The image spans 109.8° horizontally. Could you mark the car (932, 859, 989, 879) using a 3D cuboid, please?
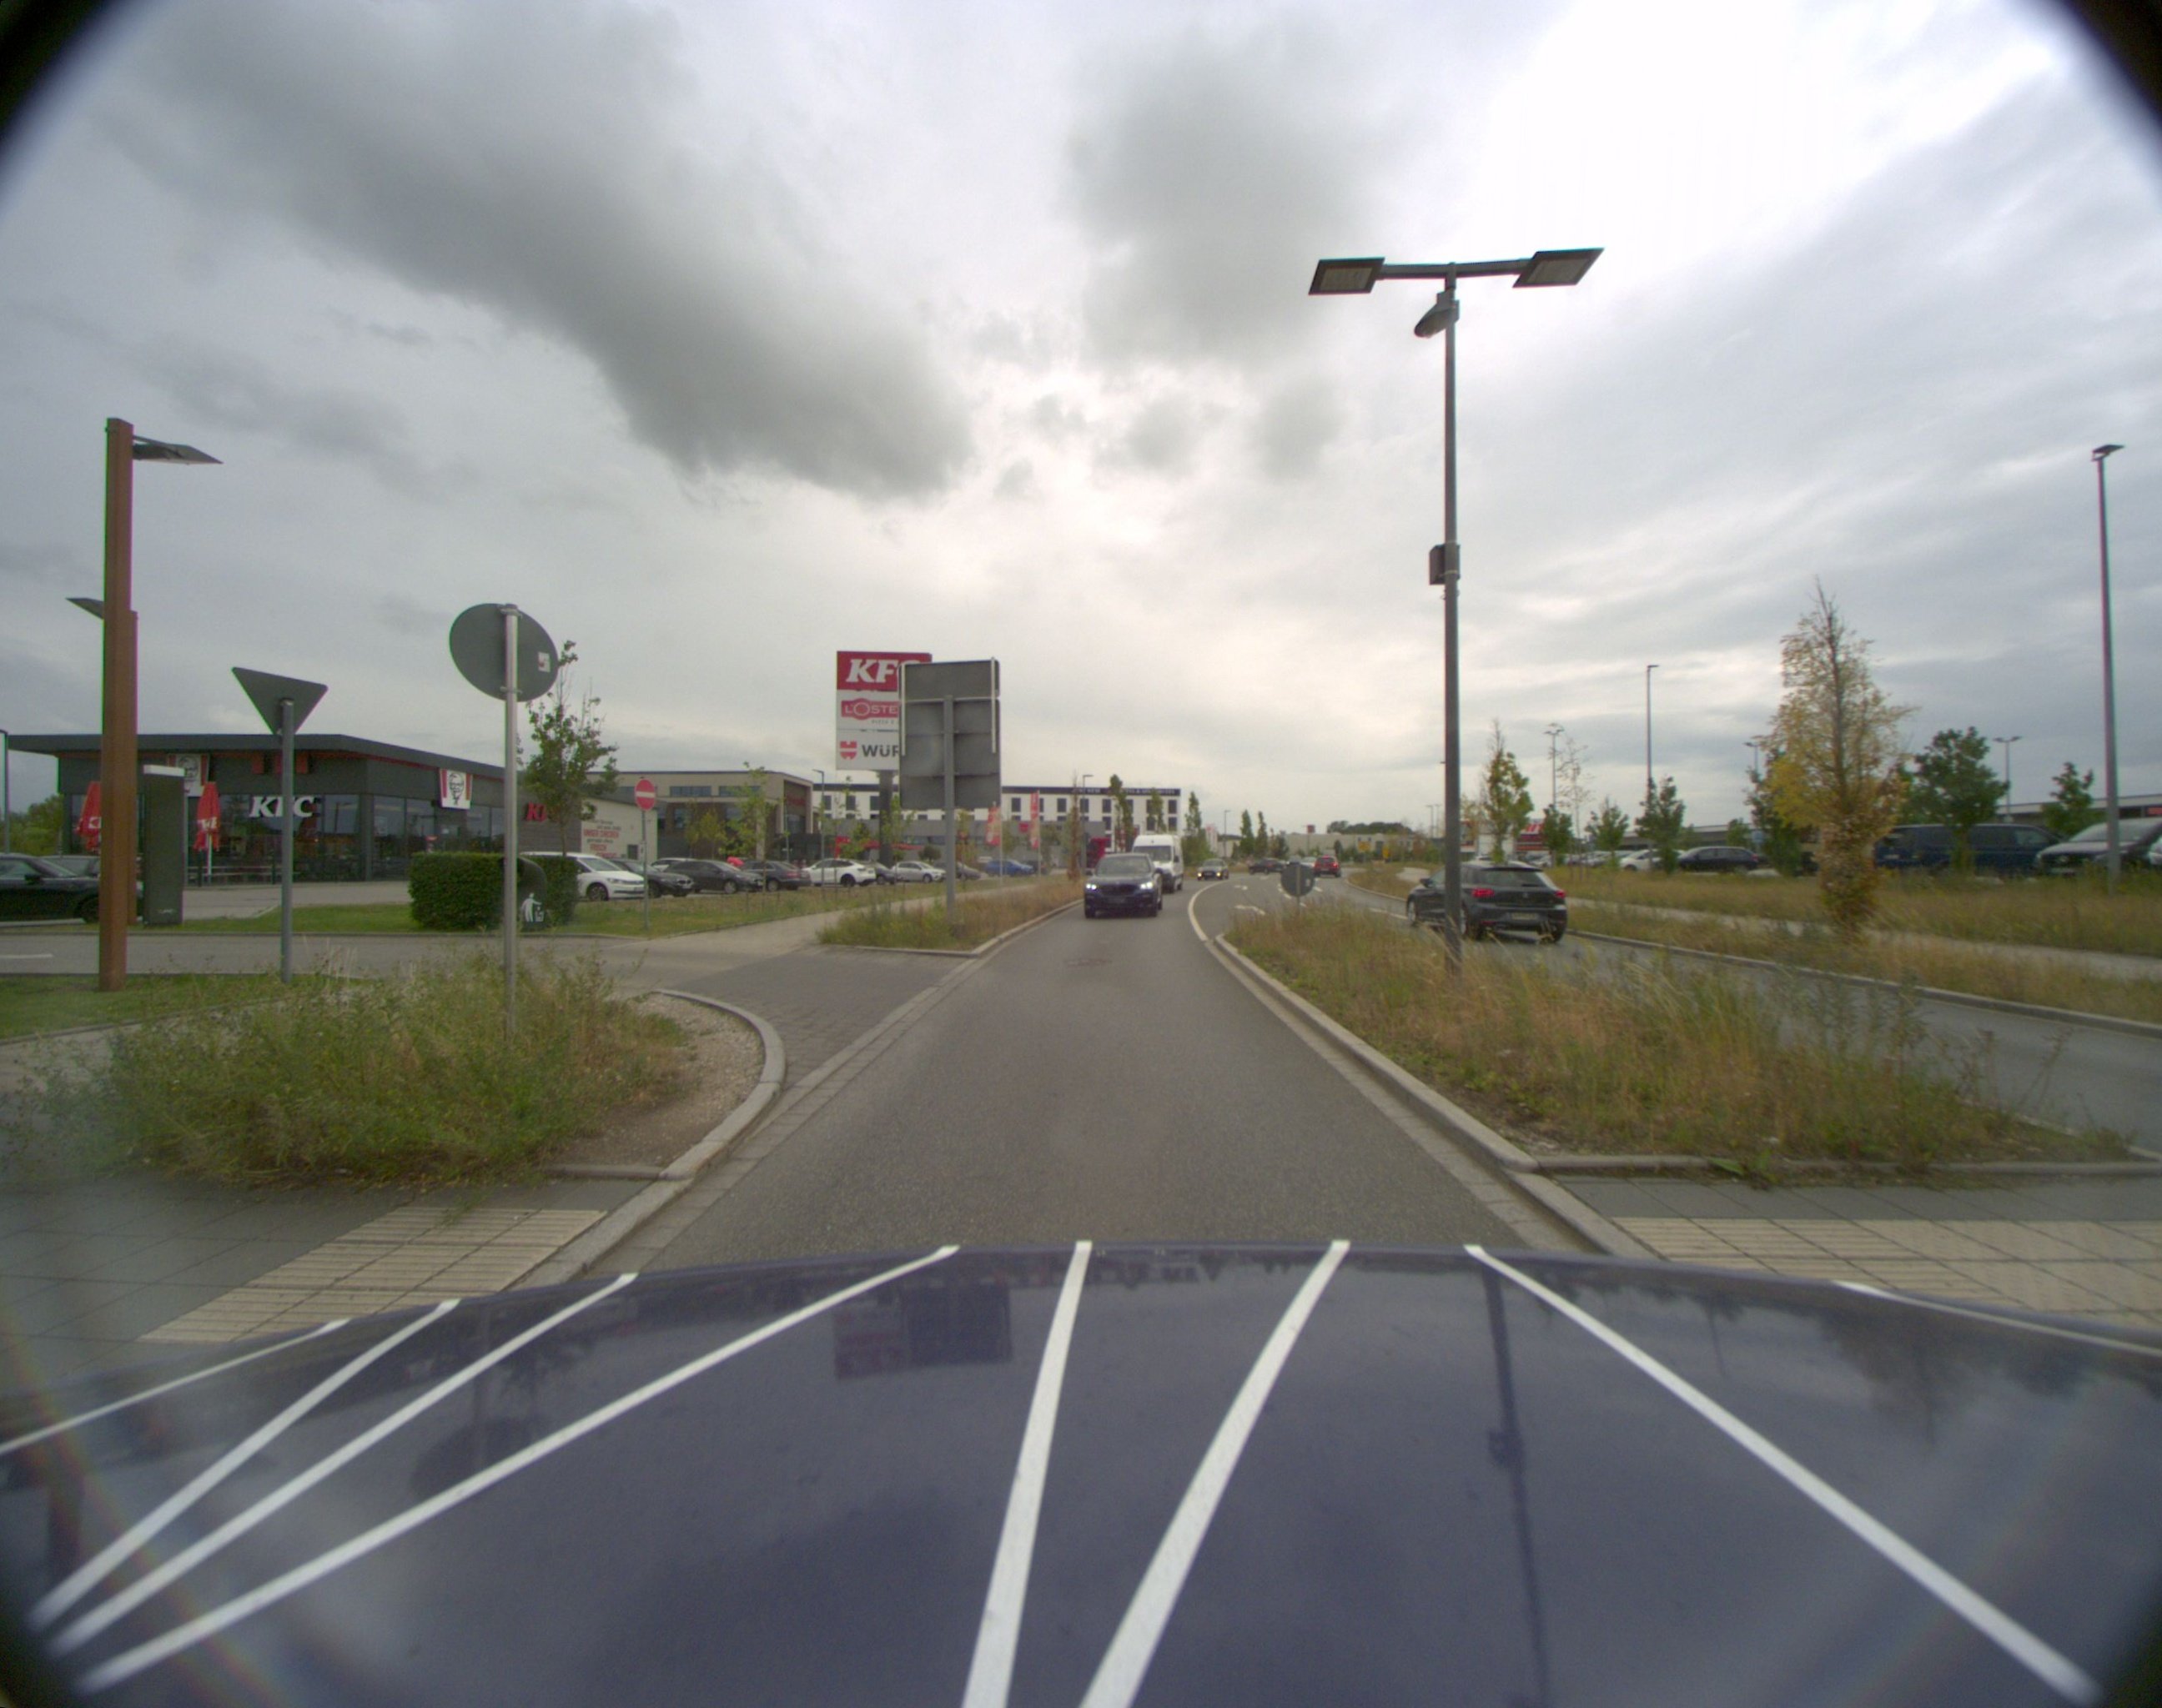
[{"bbox_3d":[-9.036,1.098,56.909,3.762,1.485,1.893,0,0,20],"label":"car"}]

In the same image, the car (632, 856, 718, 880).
[{"bbox_3d":[-26.596,0.895,49.854,4.571,1.510,2.082,1,0,4],"label":"car"}]

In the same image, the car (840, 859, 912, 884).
[{"bbox_3d":[-12.914,1.105,47.947,3.992,1.476,1.943,0,1,17],"label":"car"}]

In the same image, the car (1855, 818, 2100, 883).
[{"bbox_3d":[29.143,-0.083,24.910,4.909,1.978,2.181,0,0,12],"label":"car"}]

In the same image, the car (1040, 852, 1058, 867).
[{"bbox_3d":[-4.415,0.710,104.126,2.000,1.975,4.633,0,0,-9],"label":"car"}]

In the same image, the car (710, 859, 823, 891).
[{"bbox_3d":[-14.835,0.995,35.950,4.525,1.460,2.033,0,0,8],"label":"car"}]

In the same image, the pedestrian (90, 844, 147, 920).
[{"bbox_3d":[-23.263,0.651,18.378,0.472,1.795,0.799,0,0,-19],"label":"pedestrian"}]

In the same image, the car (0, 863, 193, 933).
[{"bbox_3d":[-20.548,0.834,15.026,1.812,1.305,3.858,0,-1,40],"label":"car"}]

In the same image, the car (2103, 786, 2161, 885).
[{"bbox_3d":[28.013,-0.469,17.336,6.082,2.293,2.211,-1,0,3],"label":"car"}]

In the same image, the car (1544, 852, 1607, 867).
[{"bbox_3d":[43.423,0.506,66.808,4.317,1.332,2.030,0,0,20],"label":"car"}]

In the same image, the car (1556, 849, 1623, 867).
[{"bbox_3d":[42.083,0.346,63.032,4.361,1.383,2.169,0,0,25],"label":"car"}]

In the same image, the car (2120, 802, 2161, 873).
[{"bbox_3d":[41.601,-0.644,27.057,2.064,2.674,5.145,0,0,-2],"label":"car"}]

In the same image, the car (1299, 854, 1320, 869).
[{"bbox_3d":[22.723,0.781,75.639,1.705,1.429,4.037,0,-1,13],"label":"car"}]

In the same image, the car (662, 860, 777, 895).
[{"bbox_3d":[-15.692,0.998,33.092,4.092,1.429,1.944,0,0,6],"label":"car"}]

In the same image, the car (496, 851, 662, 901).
[{"bbox_3d":[-16.886,0.729,25.707,4.357,1.630,1.938,0,0,2],"label":"car"}]

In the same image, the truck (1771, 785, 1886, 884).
[{"bbox_3d":[30.370,-0.702,31.200,2.851,3.520,8.447,-1,0,41],"label":"truck"}]

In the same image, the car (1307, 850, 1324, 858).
[{"bbox_3d":[61.308,-0.060,198.513,4.002,2.002,1.640,-1,0,-16],"label":"car"}]

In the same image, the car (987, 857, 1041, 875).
[{"bbox_3d":[-5.854,1.010,66.187,4.266,1.511,1.969,0,0,22],"label":"car"}]

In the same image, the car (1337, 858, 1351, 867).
[{"bbox_3d":[47.324,1.523,136.776,1.995,1.627,4.710,2,1,23],"label":"car"}]

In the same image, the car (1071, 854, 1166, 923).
[{"bbox_3d":[1.113,0.858,20.368,1.997,1.654,4.004,-1,-1,10],"label":"car"}]

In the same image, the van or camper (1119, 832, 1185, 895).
[{"bbox_3d":[3.342,0.420,34.625,2.262,2.601,5.703,0,0,13],"label":"van or camper"}]

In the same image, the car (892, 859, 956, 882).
[{"bbox_3d":[-10.807,1.133,52.424,3.865,1.473,1.905,1,0,18],"label":"car"}]

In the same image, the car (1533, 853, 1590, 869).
[{"bbox_3d":[45.867,0.657,72.607,4.322,1.448,2.014,0,0,22],"label":"car"}]

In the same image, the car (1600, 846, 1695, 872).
[{"bbox_3d":[34.904,0.335,46.949,4.253,1.550,1.991,0,0,14],"label":"car"}]

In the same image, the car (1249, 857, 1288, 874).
[{"bbox_3d":[16.577,0.978,67.540,1.835,1.411,4.242,-1,0,-9],"label":"car"}]

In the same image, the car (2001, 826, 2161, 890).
[{"bbox_3d":[28.429,0.095,20.419,4.913,1.607,1.995,0,0,1],"label":"car"}]

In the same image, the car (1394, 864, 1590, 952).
[{"bbox_3d":[7.779,0.936,14.873,1.845,1.399,4.001,2,0,4],"label":"car"}]

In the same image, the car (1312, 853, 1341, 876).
[{"bbox_3d":[18.895,0.765,58.650,1.801,1.659,4.332,2,0,14],"label":"car"}]

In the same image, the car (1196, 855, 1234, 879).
[{"bbox_3d":[9.311,0.860,52.700,1.753,1.575,4.007,-1,0,22],"label":"car"}]

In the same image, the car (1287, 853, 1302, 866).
[{"bbox_3d":[26.924,0.726,95.919,1.754,1.575,4.005,-1,0,16],"label":"car"}]

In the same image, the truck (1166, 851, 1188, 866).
[{"bbox_3d":[15.500,0.793,122.244,2.229,2.312,8.225,0,-1,15],"label":"truck"}]

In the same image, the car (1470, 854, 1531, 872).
[{"bbox_3d":[34.007,0.711,61.687,4.182,1.460,1.889,0,0,25],"label":"car"}]

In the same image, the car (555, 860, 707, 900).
[{"bbox_3d":[-16.616,0.927,28.218,4.477,1.428,2.075,0,0,5],"label":"car"}]

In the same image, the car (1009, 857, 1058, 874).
[{"bbox_3d":[-4.268,1.021,68.331,3.990,1.485,1.985,0,0,25],"label":"car"}]

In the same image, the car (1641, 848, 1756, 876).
[{"bbox_3d":[32.263,0.419,39.820,4.237,1.426,2.000,0,0,17],"label":"car"}]

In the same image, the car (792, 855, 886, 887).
[{"bbox_3d":[-13.643,0.935,42.909,4.568,1.635,2.091,1,0,13],"label":"car"}]
